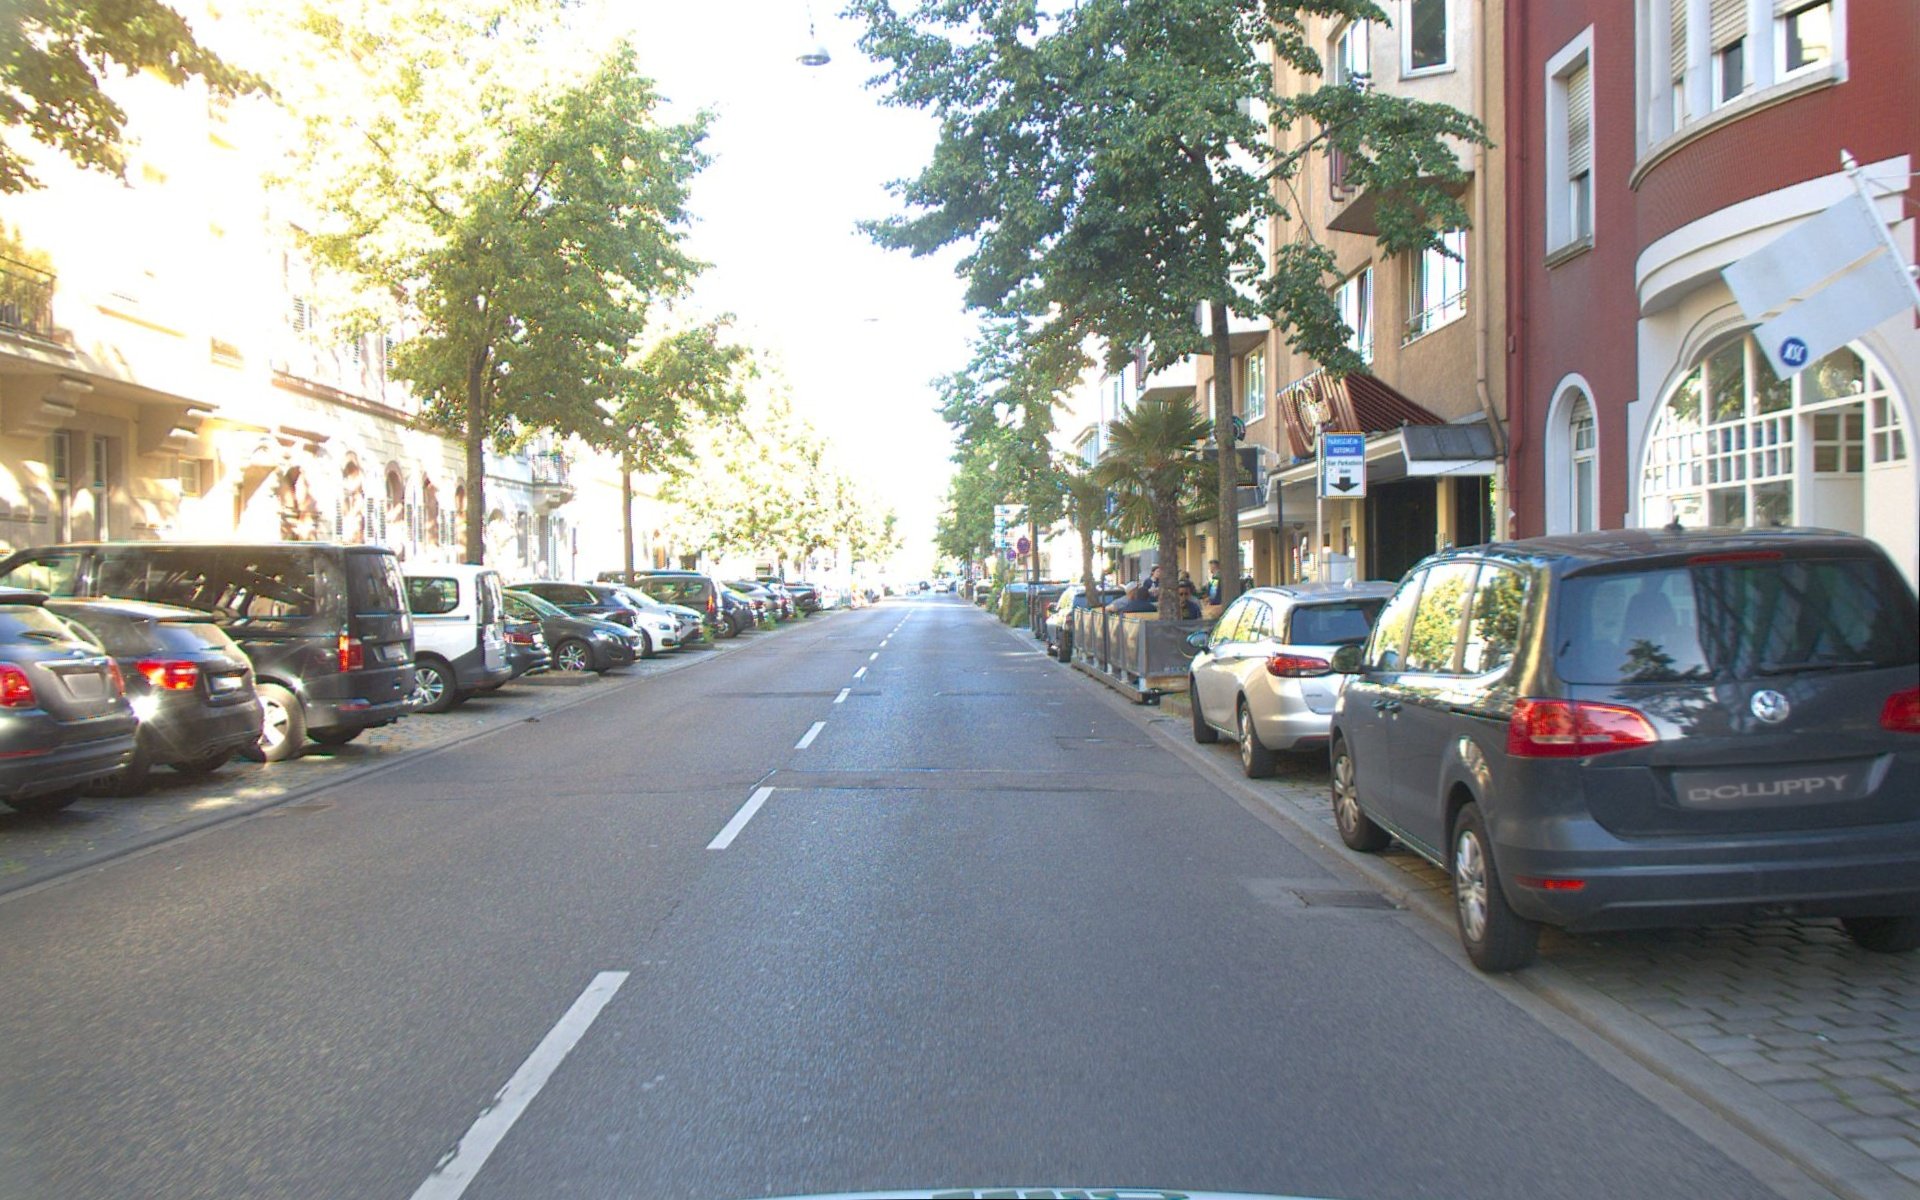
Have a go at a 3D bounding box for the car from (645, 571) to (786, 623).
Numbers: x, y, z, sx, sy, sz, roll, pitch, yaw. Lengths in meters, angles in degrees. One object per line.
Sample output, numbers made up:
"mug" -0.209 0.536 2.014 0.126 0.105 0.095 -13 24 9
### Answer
"car" -8.392 -0.105 57.065 4.584 1.742 1.808 0 0 0

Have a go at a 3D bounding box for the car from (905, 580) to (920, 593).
"car" -5.867 -1.657 204.578 1.766 1.460 4.408 -3 1 -2

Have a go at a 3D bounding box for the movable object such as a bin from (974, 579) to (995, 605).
"movable object such as a bin" 1.507 -0.518 103.155 1.118 1.589 1.460 -1 0 7

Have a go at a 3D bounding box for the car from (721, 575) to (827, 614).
"car" -8.464 -0.251 75.605 4.584 1.723 1.808 0 0 0

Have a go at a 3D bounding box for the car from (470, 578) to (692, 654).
"car" -8.154 0.328 35.848 4.376 1.568 1.916 0 0 -2

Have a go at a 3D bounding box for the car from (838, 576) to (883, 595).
"car" -9.265 -1.314 153.900 3.903 1.724 2.001 0 1 4

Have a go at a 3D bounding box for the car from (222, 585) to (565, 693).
"car" -8.006 0.529 23.691 4.252 1.464 1.915 0 0 -3

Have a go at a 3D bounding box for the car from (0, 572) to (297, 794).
"car" -7.740 0.597 13.031 4.253 1.623 1.915 0 0 -3

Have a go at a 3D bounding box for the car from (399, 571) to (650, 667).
"car" -8.198 0.339 31.432 4.251 1.739 1.916 0 0 -1

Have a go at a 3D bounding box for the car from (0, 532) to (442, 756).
"car" -7.454 0.379 15.608 4.479 1.960 1.930 0 0 1

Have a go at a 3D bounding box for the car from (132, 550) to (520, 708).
"car" -7.831 0.343 20.850 4.261 1.866 1.912 0 0 -11

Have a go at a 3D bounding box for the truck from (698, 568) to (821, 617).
"truck" -8.482 -0.334 70.208 4.982 1.972 1.999 -1 0 -2

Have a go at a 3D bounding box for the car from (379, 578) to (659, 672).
"car" -7.669 0.412 29.046 4.374 1.568 1.917 0 0 1

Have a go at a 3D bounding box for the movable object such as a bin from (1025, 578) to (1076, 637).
"movable object such as a bin" 2.455 0.207 44.970 1.303 1.569 1.146 -1 0 -1

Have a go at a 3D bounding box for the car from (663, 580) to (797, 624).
"car" -8.308 0.056 59.918 4.584 1.546 1.808 0 0 0

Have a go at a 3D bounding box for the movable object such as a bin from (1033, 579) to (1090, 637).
"movable object such as a bin" 2.603 0.200 42.630 1.370 1.479 1.146 -1 0 -1

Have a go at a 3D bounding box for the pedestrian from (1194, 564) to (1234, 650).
"pedestrian" 5.125 0.135 33.384 0.498 1.725 0.622 -1 0 -38

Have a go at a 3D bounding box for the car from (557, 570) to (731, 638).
"car" -8.618 0.097 45.403 4.374 1.803 1.917 0 0 0

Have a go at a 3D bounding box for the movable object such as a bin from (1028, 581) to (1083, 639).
"movable object such as a bin" 2.519 0.254 43.807 1.370 1.479 1.146 -1 0 -1

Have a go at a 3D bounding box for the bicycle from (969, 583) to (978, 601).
"bicycle" 1.137 -0.695 139.314 0.549 1.465 1.628 -6 1 -1

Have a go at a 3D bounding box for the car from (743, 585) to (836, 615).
"car" -8.579 -0.007 83.468 4.588 1.490 1.807 0 0 -4

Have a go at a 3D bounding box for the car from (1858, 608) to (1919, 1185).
"car" 3.259 0.723 1.880 1.785 1.427 4.841 -3 1 0

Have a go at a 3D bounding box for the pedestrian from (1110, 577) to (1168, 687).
"pedestrian" 2.608 0.451 24.036 0.733 1.563 0.808 -1 0 14

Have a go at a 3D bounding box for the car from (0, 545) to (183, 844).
"car" -7.574 0.539 10.611 4.253 1.764 1.915 0 0 -3

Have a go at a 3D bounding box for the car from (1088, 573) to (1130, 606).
"car" 7.963 -0.581 88.474 1.862 1.677 4.294 -1 1 0

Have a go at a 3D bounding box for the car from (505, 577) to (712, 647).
"car" -8.187 0.276 38.744 4.373 1.568 1.917 0 0 2

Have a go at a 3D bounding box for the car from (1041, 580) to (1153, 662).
"car" 2.736 0.378 34.088 1.785 1.497 4.911 -3 1 -1

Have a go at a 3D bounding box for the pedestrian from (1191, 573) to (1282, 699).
"pedestrian" 3.516 0.449 21.091 1.034 1.563 0.892 -1 0 3

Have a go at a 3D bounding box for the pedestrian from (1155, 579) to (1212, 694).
"pedestrian" 3.094 0.499 22.927 0.678 1.563 0.776 -1 0 0

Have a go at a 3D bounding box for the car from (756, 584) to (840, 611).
"car" -8.924 -0.131 91.432 4.588 1.437 1.807 0 0 -4

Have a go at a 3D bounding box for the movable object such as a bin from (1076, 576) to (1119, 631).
"movable object such as a bin" 3.736 0.085 44.997 1.055 1.456 1.295 -1 0 -1

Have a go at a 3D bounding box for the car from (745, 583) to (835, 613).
"car" -8.828 -0.117 86.024 4.588 1.490 1.807 0 0 -4

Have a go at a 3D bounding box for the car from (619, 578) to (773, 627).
"car" -8.209 0.061 51.743 4.551 1.484 1.683 0 0 -1

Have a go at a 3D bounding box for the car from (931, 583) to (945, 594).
"car" -2.917 -1.539 220.533 1.756 1.436 3.999 0 1 -1

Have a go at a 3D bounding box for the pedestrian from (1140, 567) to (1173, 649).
"pedestrian" 4.215 0.169 35.481 0.604 1.725 0.762 -1 0 0

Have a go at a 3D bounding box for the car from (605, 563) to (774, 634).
"car" -7.855 -0.046 48.315 4.584 1.984 1.917 0 0 0

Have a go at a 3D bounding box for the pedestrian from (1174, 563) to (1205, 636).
"pedestrian" 5.298 -0.011 38.267 0.604 1.670 0.762 -1 0 1

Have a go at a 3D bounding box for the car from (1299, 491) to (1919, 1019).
"car" 3.026 0.514 8.304 1.784 1.808 4.932 -3 1 3

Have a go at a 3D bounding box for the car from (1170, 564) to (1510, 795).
"car" 3.125 0.562 14.671 1.785 1.624 4.841 -3 1 -1

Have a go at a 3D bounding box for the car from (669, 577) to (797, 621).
"car" -8.595 -0.053 62.777 4.584 1.599 1.808 0 0 0

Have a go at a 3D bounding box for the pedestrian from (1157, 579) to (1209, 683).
"pedestrian" 3.424 0.459 25.322 0.696 1.563 0.770 -1 0 14

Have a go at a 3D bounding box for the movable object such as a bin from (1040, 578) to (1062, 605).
"movable object such as a bin" 5.459 -0.520 99.292 1.245 1.557 1.176 -1 0 -3

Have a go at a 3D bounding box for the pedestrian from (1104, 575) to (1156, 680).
"pedestrian" 2.593 0.409 25.334 0.637 1.563 0.979 -1 0 -3

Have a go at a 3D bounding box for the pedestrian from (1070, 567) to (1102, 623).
"pedestrian" 4.429 -0.188 58.251 0.906 1.969 0.761 0 0 24
